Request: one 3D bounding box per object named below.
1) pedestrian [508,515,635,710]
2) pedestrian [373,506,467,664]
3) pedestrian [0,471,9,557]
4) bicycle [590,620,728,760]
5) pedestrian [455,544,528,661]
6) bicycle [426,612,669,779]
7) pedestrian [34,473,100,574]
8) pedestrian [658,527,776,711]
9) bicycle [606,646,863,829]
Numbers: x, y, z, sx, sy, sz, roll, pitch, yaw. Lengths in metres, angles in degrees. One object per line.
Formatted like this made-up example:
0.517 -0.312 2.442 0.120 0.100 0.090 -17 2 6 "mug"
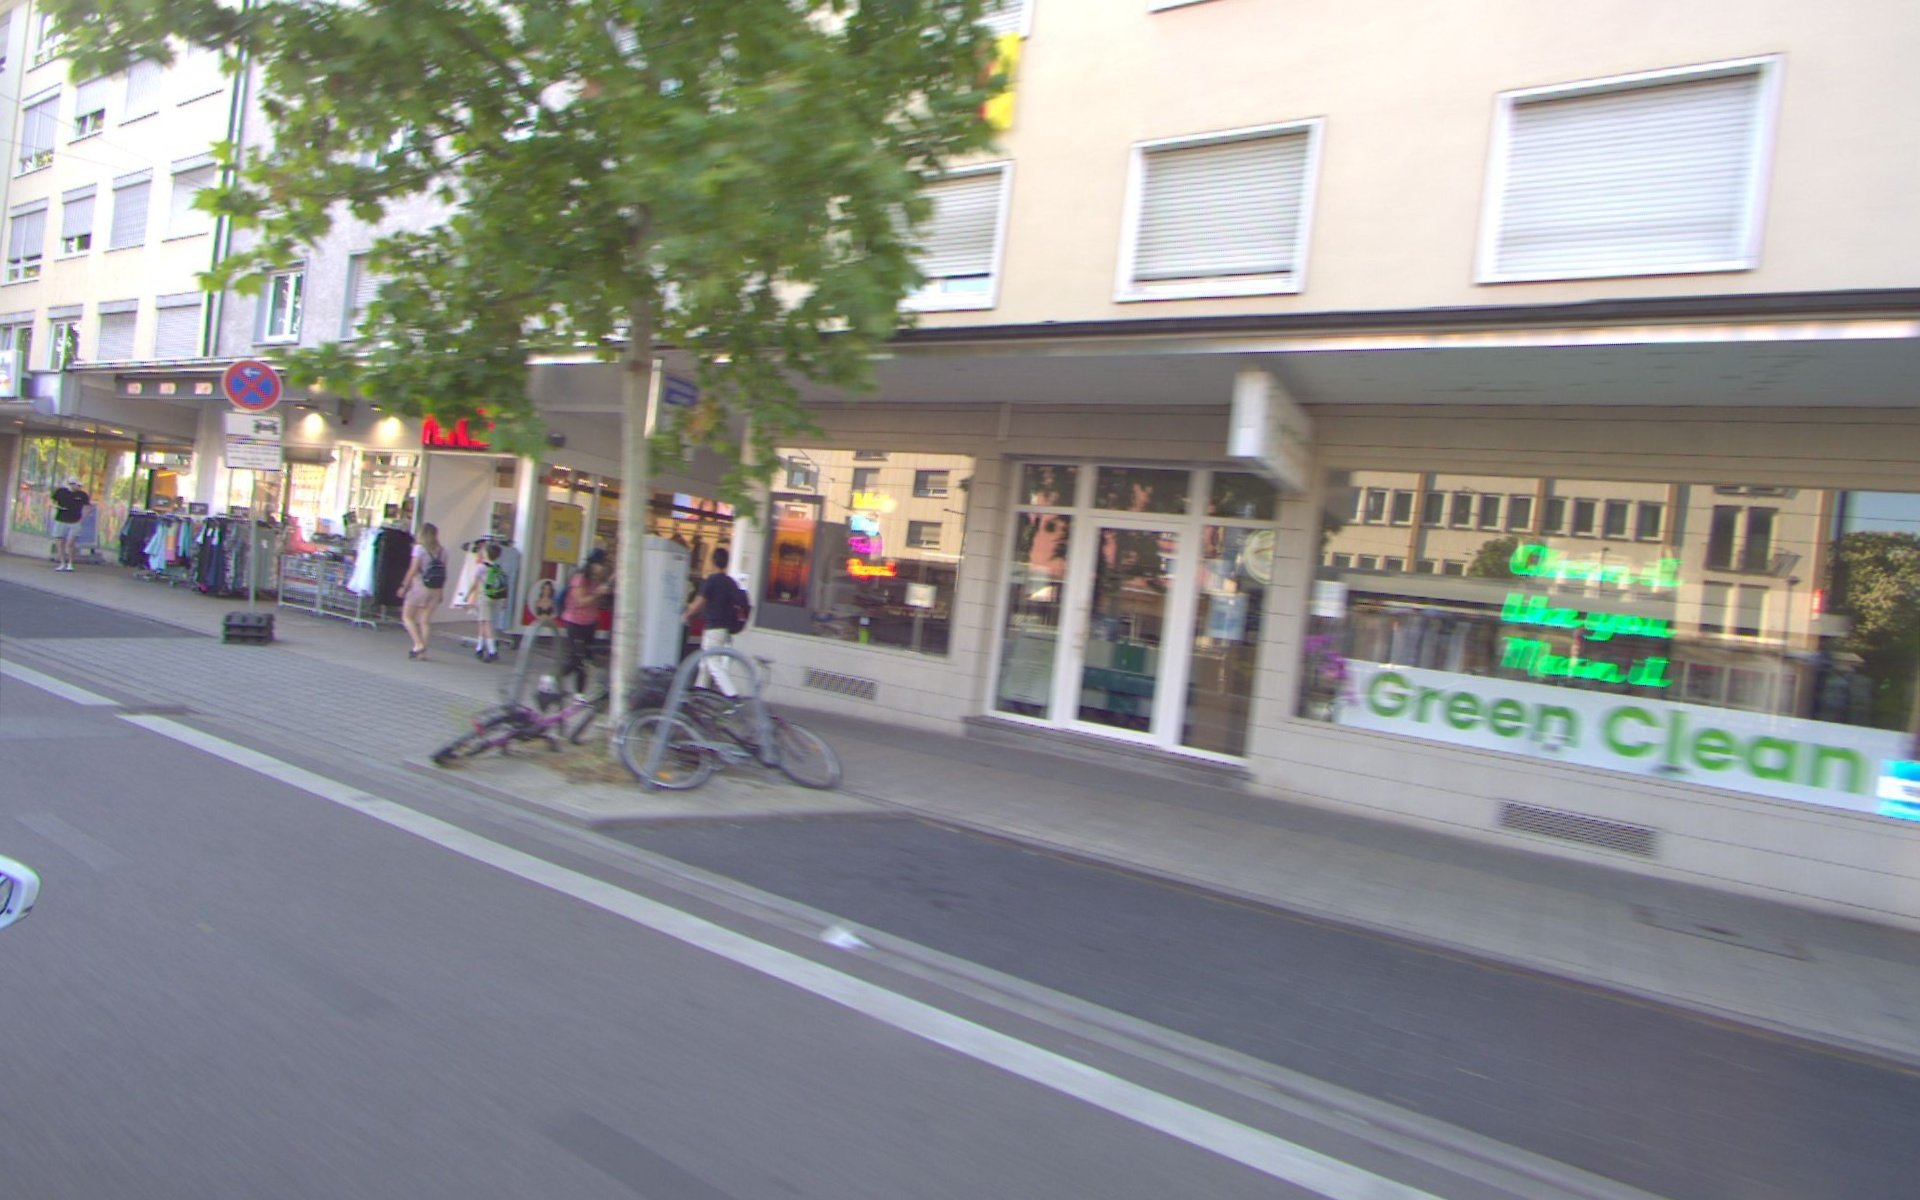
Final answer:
-3.873 0.124 10.039 0.754 1.818 0.724 7 1 31 "pedestrian"
-6.555 -0.177 12.218 0.754 1.818 0.565 7 1 31 "pedestrian"
-20.911 -1.891 21.391 0.754 1.818 0.724 7 1 31 "pedestrian"
-2.346 0.661 8.033 0.641 0.954 1.694 -2 0 -3 "bicycle"
-5.972 0.032 12.823 0.601 1.412 0.475 7 1 31 "pedestrian"
-3.045 0.658 7.689 0.927 0.636 1.785 -30 2 2 "bicycle"
-16.954 -1.444 19.100 0.754 1.820 0.723 7 4 31 "pedestrian"
-2.564 0.203 10.621 0.754 1.818 0.724 7 1 31 "pedestrian"
-1.526 0.893 7.142 0.780 0.955 1.783 6 4 27 "bicycle"
